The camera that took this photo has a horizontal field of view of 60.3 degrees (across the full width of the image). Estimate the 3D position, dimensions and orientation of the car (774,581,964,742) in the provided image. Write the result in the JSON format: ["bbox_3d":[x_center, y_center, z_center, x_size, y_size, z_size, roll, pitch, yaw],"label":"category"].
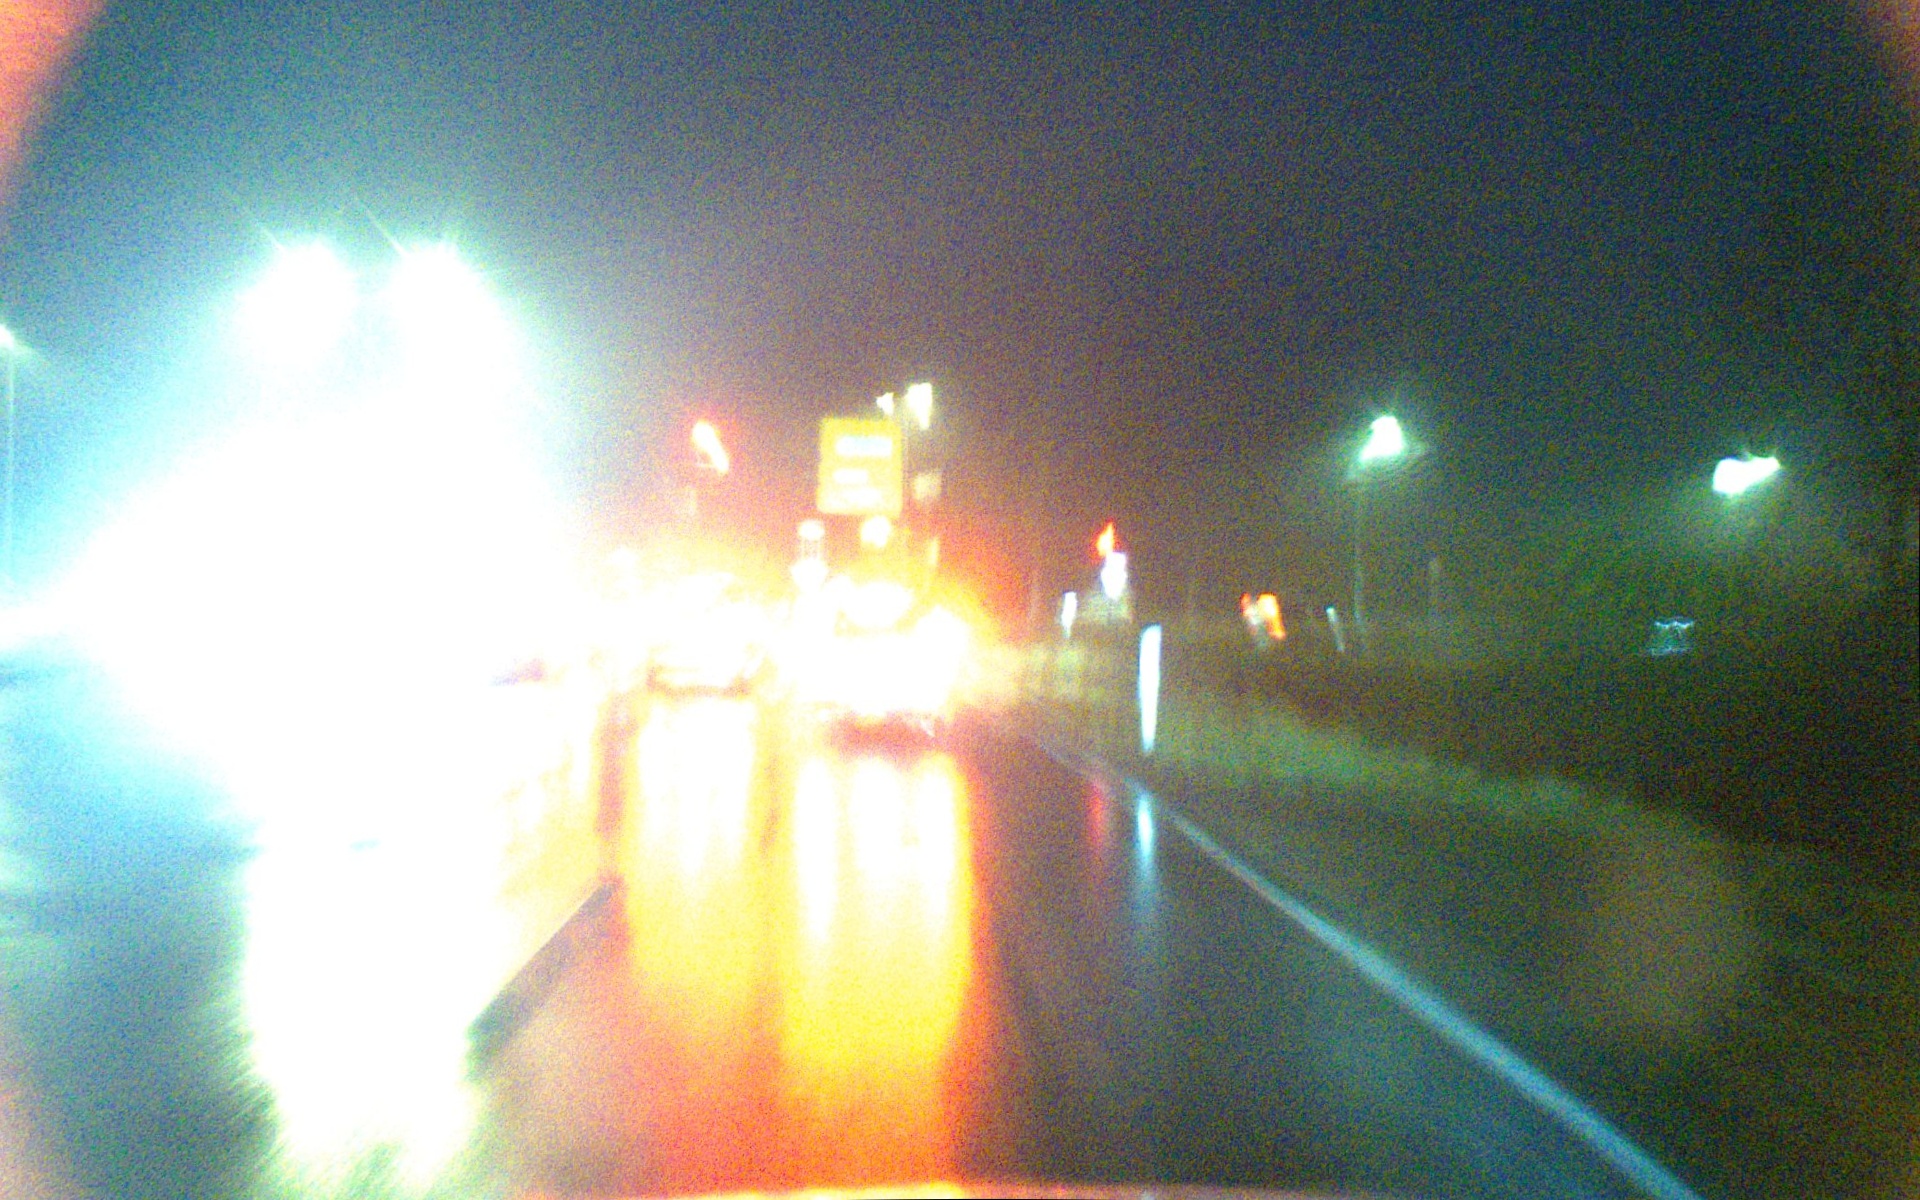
[{"bbox_3d":[-0.940,0.666,19.756,1.952,1.656,4.984,1,-1,0],"label":"car"}]

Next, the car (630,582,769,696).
[{"bbox_3d":[-4.328,0.571,28.180,1.955,1.656,4.980,-2,1,-5],"label":"car"}]

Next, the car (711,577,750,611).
[{"bbox_3d":[-12.420,-0.351,89.686,1.956,1.656,4.976,-2,1,-8],"label":"car"}]

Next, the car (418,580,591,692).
[{"bbox_3d":[-7.759,0.543,28.673,1.955,1.656,4.980,-2,1,-5],"label":"car"}]

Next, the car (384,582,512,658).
[{"bbox_3d":[-12.623,0.439,41.090,1.955,1.656,4.980,-2,1,-5],"label":"car"}]

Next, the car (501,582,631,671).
[{"bbox_3d":[-8.373,0.507,35.553,1.955,1.656,4.980,-2,1,-5],"label":"car"}]
